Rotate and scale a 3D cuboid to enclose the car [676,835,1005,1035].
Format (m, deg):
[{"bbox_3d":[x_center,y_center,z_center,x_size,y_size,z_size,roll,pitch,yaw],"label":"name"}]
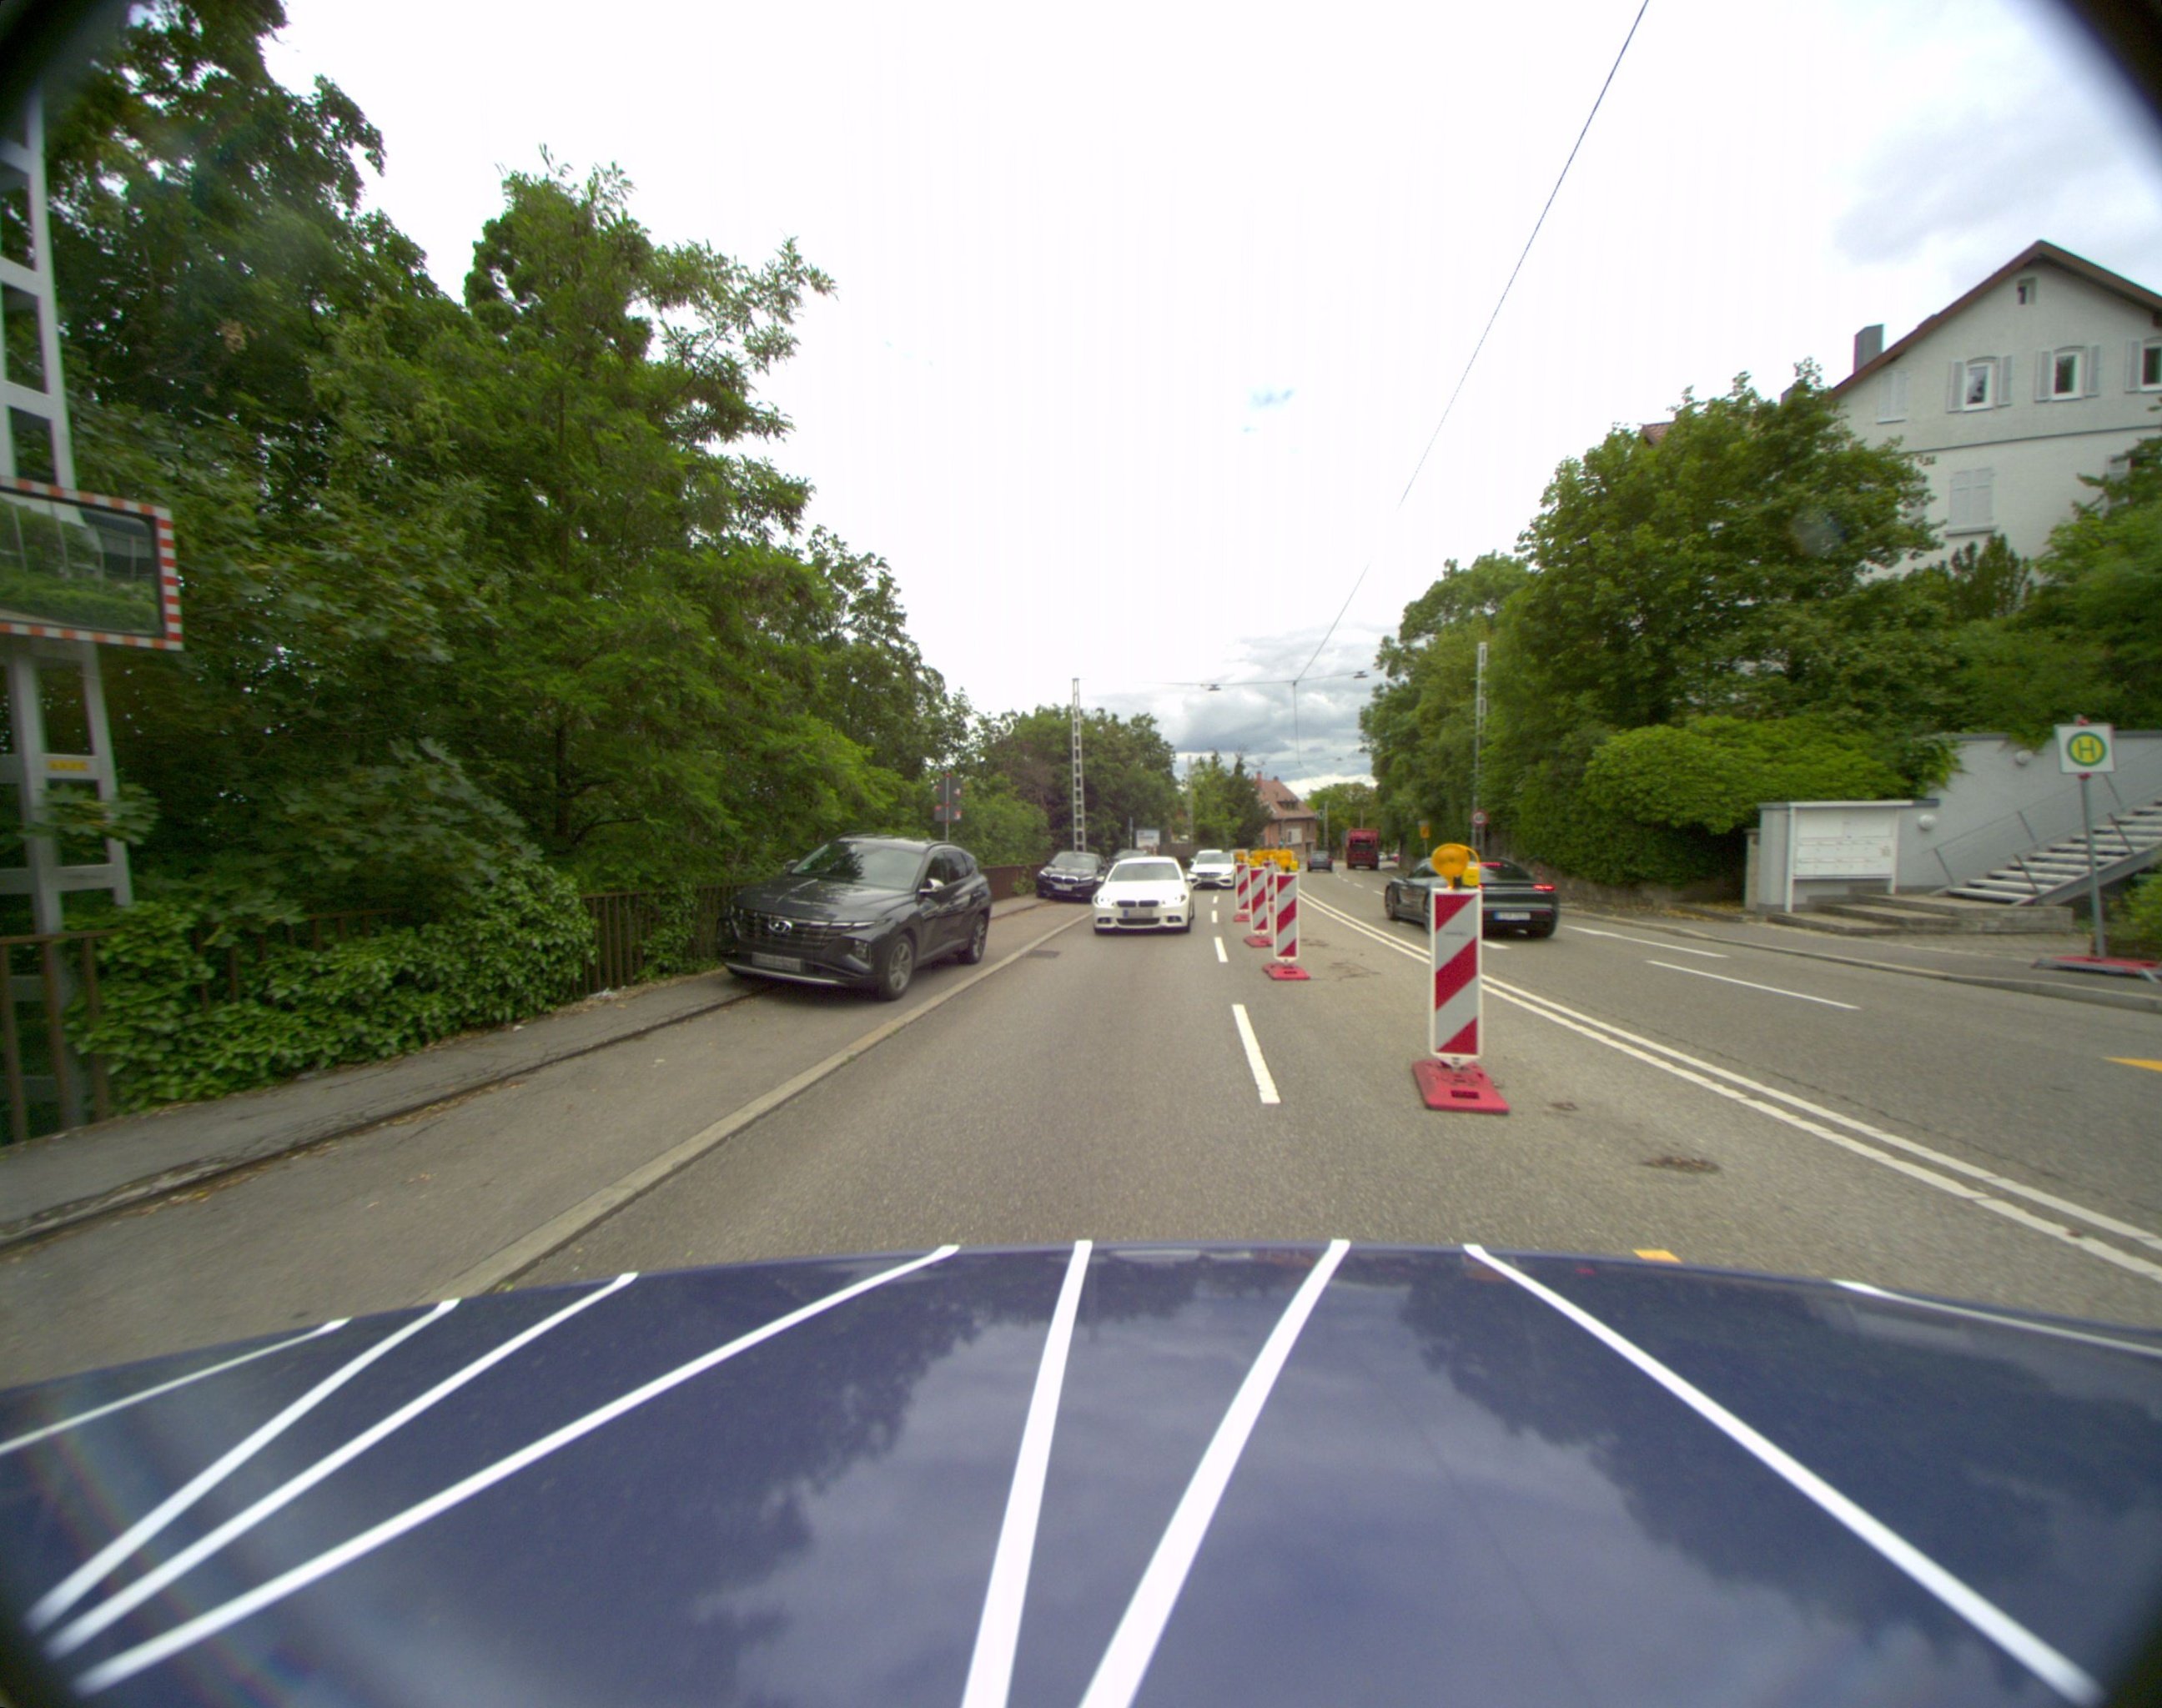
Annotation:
[{"bbox_3d":[-2.445,0.708,9.050,1.856,1.664,4.282,4,1,10],"label":"car"}]

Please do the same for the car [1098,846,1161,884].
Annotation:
[{"bbox_3d":[2.249,0.455,34.124,1.855,1.525,4.237,2,1,16],"label":"car"}]

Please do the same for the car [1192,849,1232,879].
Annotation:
[{"bbox_3d":[7.143,0.503,41.138,1.790,1.542,4.249,-2,0,14],"label":"car"}]

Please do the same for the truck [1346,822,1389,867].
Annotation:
[{"bbox_3d":[25.978,-0.811,68.521,2.862,3.677,9.674,3,1,24],"label":"truck"}]

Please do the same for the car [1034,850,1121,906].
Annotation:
[{"bbox_3d":[0.004,0.666,23.510,1.856,1.427,4.235,4,1,10],"label":"car"}]

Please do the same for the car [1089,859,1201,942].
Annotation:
[{"bbox_3d":[1.477,0.848,15.785,1.790,1.472,4.249,-1,0,12],"label":"car"}]

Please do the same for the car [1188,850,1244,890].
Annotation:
[{"bbox_3d":[5.575,0.607,30.896,1.790,1.472,4.249,-1,1,16],"label":"car"}]

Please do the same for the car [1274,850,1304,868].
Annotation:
[{"bbox_3d":[18.000,0.401,65.606,1.789,1.472,4.251,-1,0,24],"label":"car"}]

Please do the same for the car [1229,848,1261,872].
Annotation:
[{"bbox_3d":[10.927,0.373,50.368,1.796,1.501,4.004,1,1,16],"label":"car"}]

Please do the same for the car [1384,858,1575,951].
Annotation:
[{"bbox_3d":[7.154,0.799,14.204,1.824,1.383,4.441,1,0,9],"label":"car"}]

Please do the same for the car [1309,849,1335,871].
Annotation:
[{"bbox_3d":[16.977,0.372,53.570,1.716,1.453,4.005,1,1,17],"label":"car"}]

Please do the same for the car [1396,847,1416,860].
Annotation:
[{"bbox_3d":[47.865,-0.097,111.760,1.991,1.895,4.253,2,1,33],"label":"car"}]
